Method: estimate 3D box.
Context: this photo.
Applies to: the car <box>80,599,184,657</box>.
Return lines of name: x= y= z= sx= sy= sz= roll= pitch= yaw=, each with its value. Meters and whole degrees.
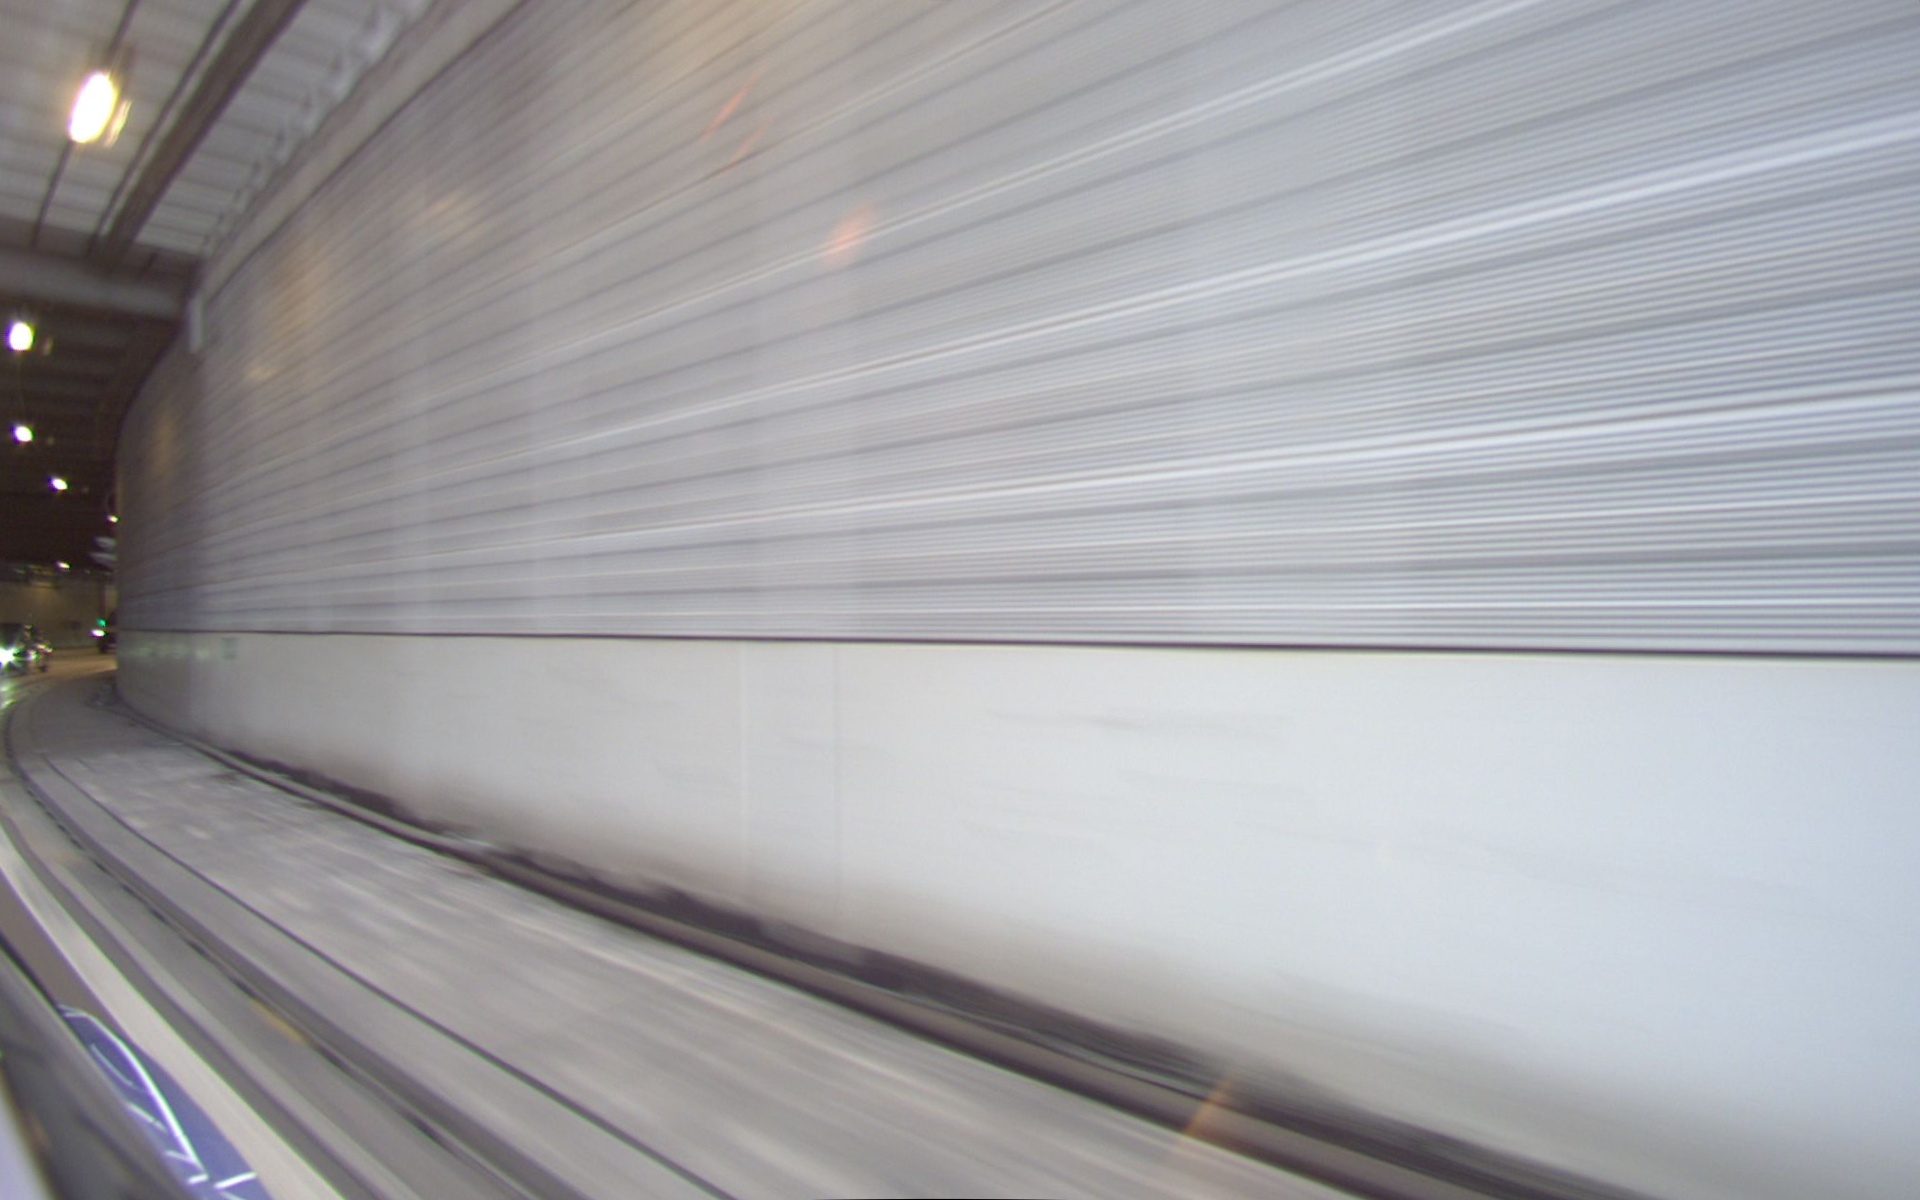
car: x=-42.953 y=1.444 z=52.749 sx=2.517 sy=2.789 sz=7.375 roll=0 pitch=-1 yaw=-26

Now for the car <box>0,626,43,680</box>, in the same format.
car: x=-27.655 y=1.480 z=29.104 sx=1.695 sy=1.475 sz=4.007 roll=1 pitch=-1 yaw=-39

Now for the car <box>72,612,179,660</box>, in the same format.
car: x=-37.328 y=1.552 z=45.463 sx=2.335 sy=1.939 sz=5.216 roll=-1 pitch=0 yaw=-23
